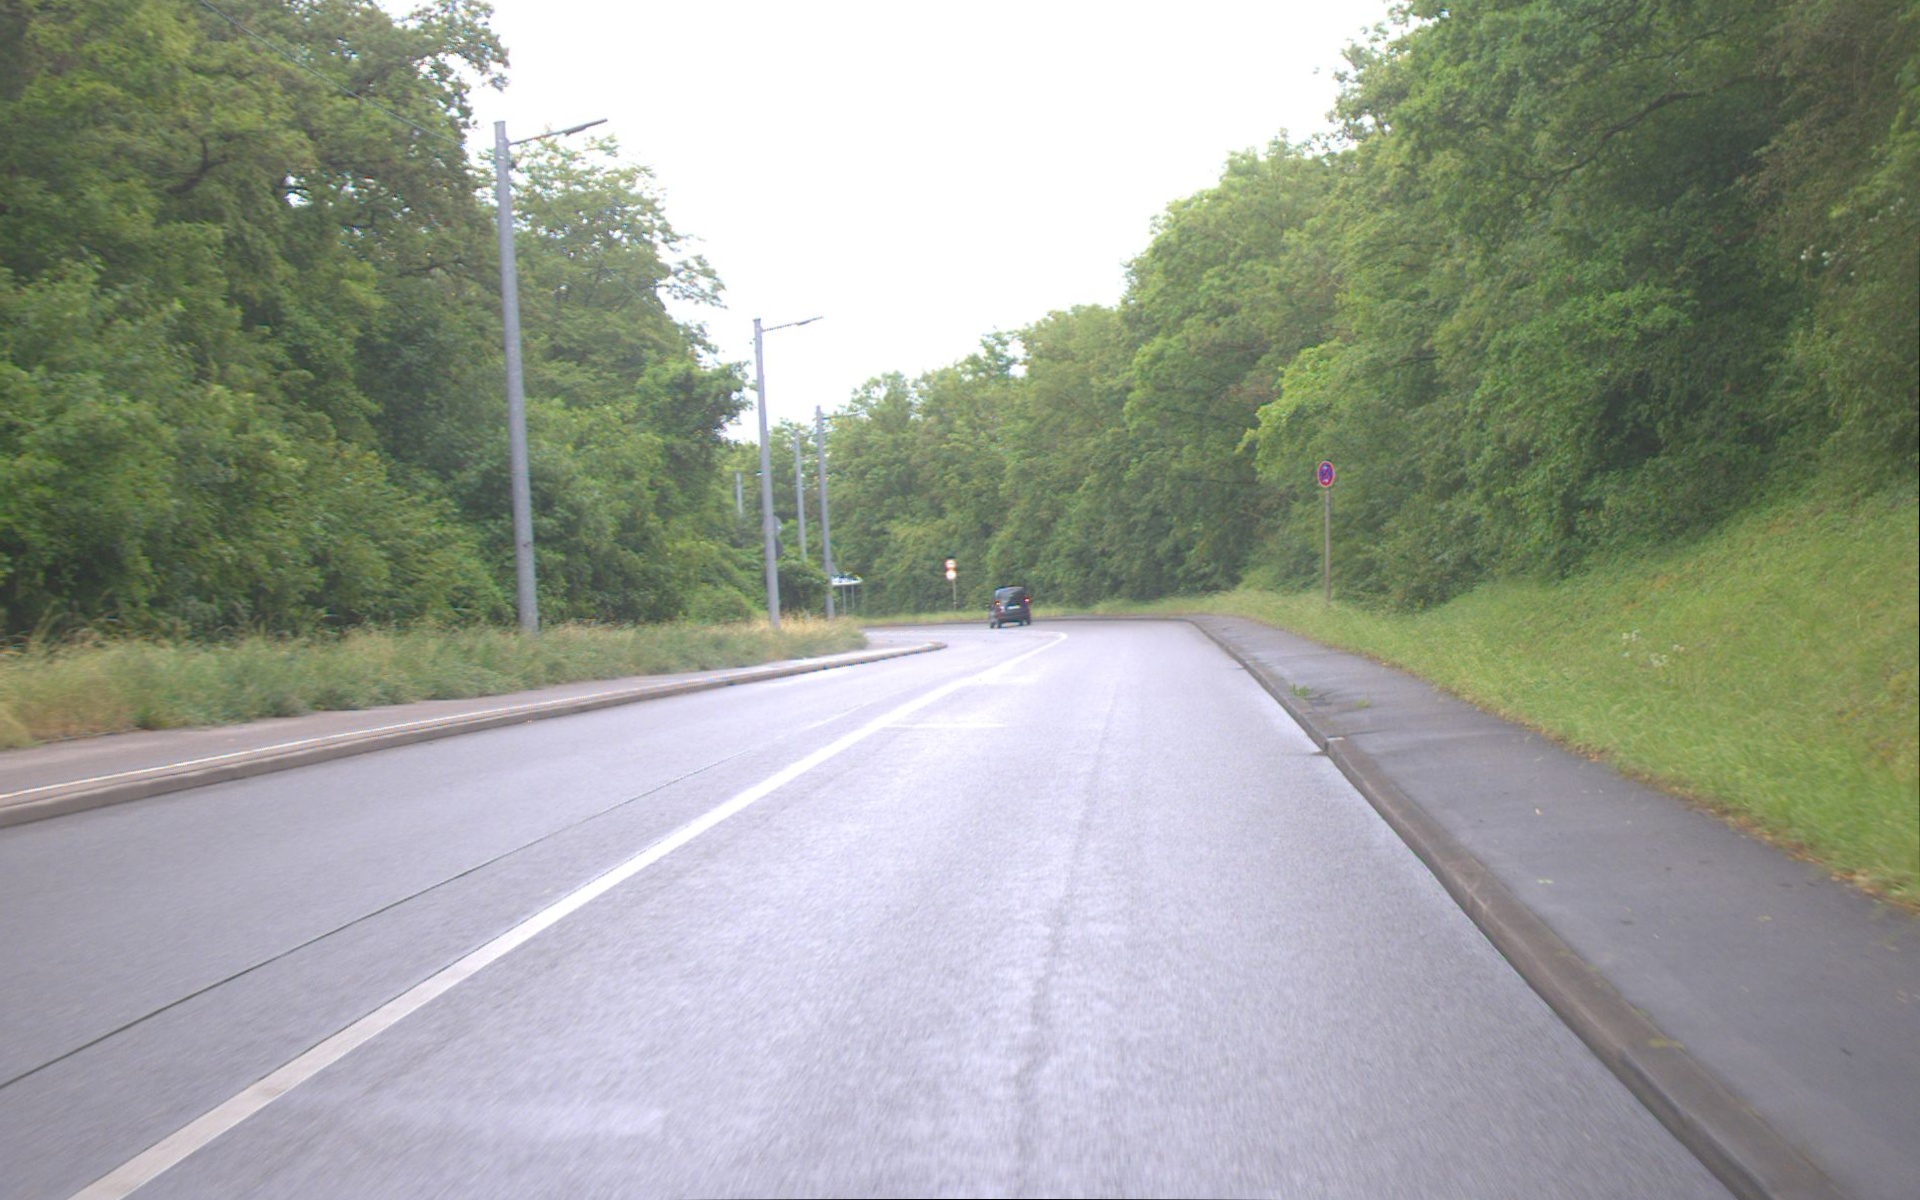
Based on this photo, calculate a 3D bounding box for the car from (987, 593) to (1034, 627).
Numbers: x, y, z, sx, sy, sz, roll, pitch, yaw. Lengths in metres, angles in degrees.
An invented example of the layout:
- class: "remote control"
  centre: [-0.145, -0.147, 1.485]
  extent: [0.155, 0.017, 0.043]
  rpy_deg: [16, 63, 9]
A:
- class: "car"
  centre: [2.376, 0.480, 163.623]
  extent: [1.867, 1.590, 4.000]
  rpy_deg: [1, -1, -4]
